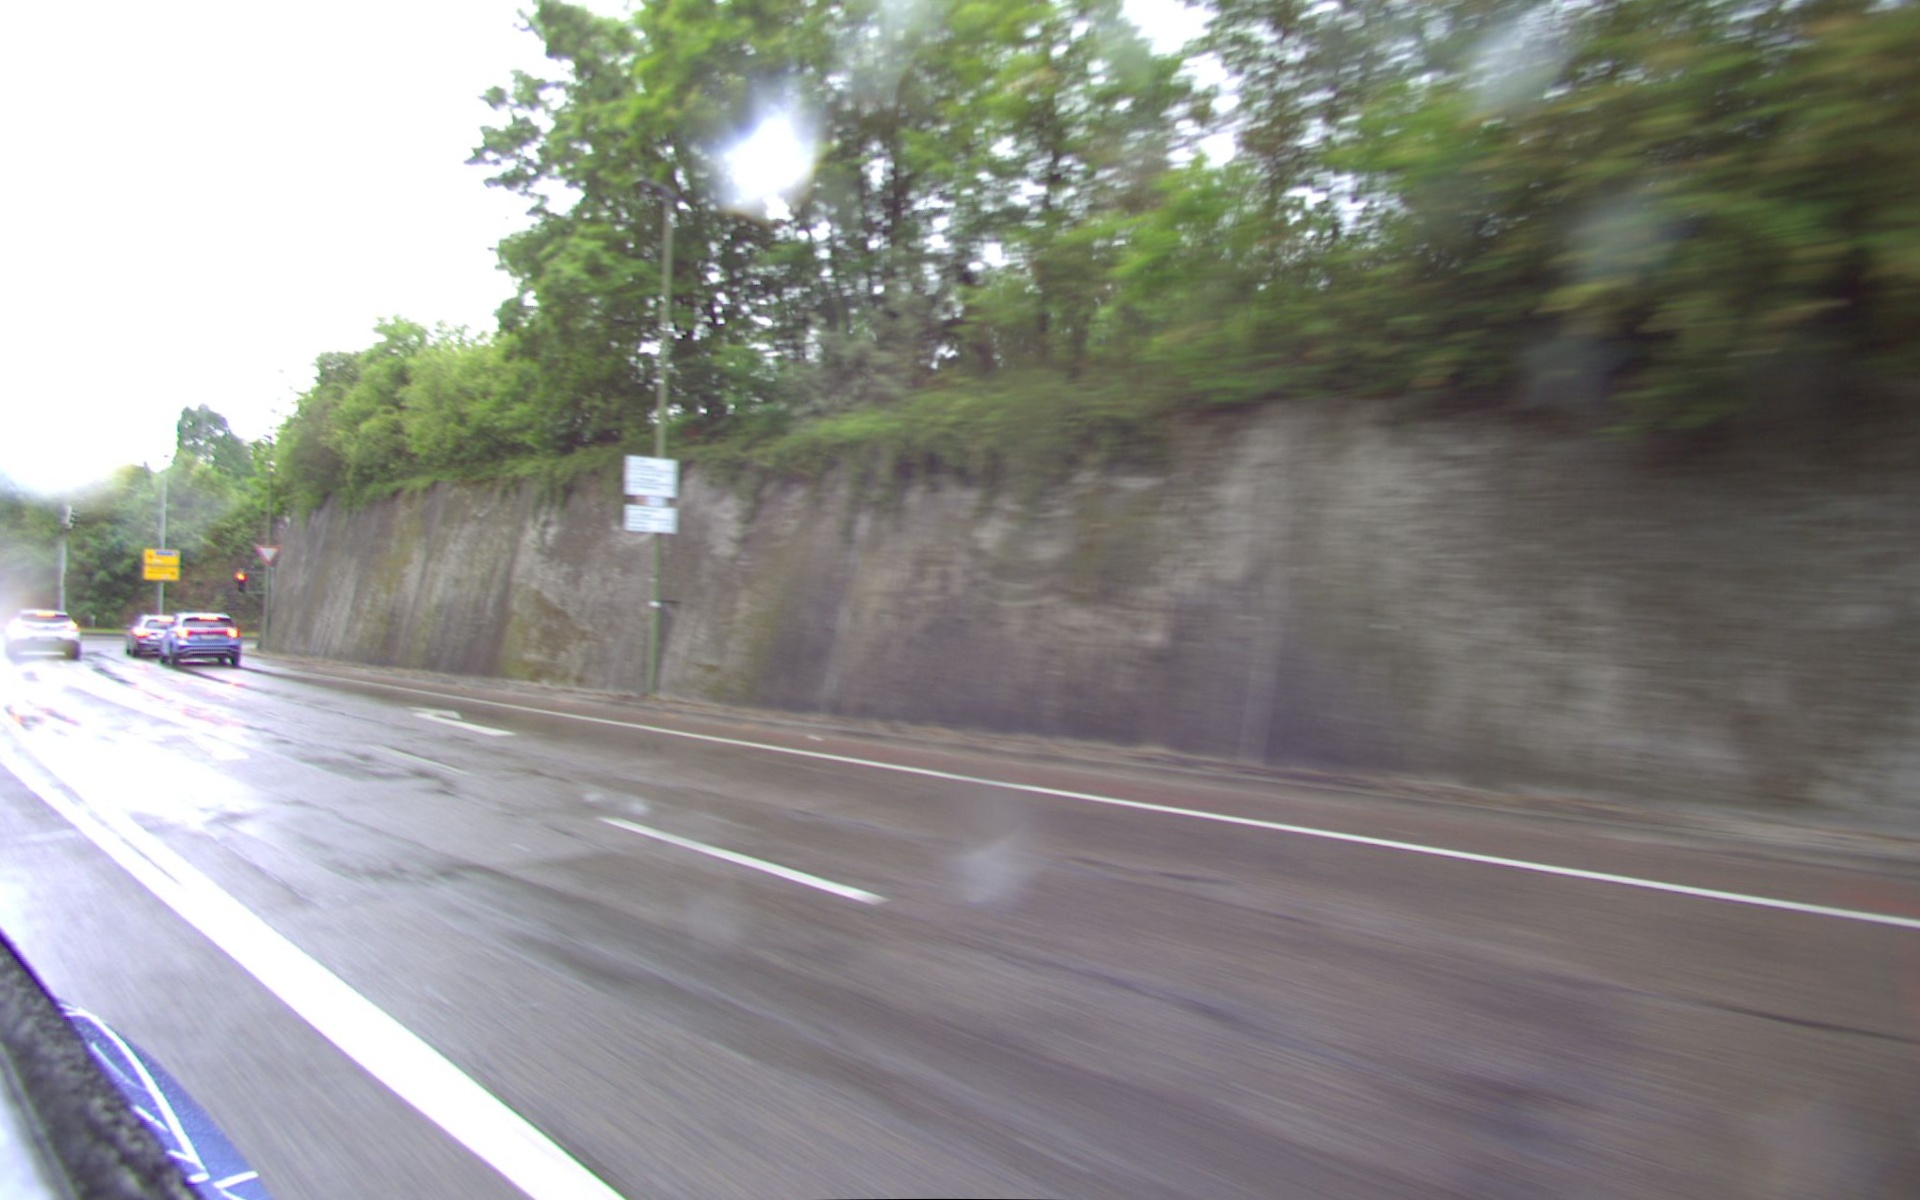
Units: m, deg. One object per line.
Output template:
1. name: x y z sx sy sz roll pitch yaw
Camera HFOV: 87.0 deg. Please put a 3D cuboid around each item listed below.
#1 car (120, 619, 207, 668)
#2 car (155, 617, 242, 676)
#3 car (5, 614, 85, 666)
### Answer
1. car: -28.961 1.567 36.726 1.970 1.514 4.733 7 -5 -43
2. car: -23.817 1.416 31.602 1.793 1.670 4.055 3 -2 -42
3. car: -30.516 1.323 33.771 1.846 1.614 4.004 2 -3 -42
